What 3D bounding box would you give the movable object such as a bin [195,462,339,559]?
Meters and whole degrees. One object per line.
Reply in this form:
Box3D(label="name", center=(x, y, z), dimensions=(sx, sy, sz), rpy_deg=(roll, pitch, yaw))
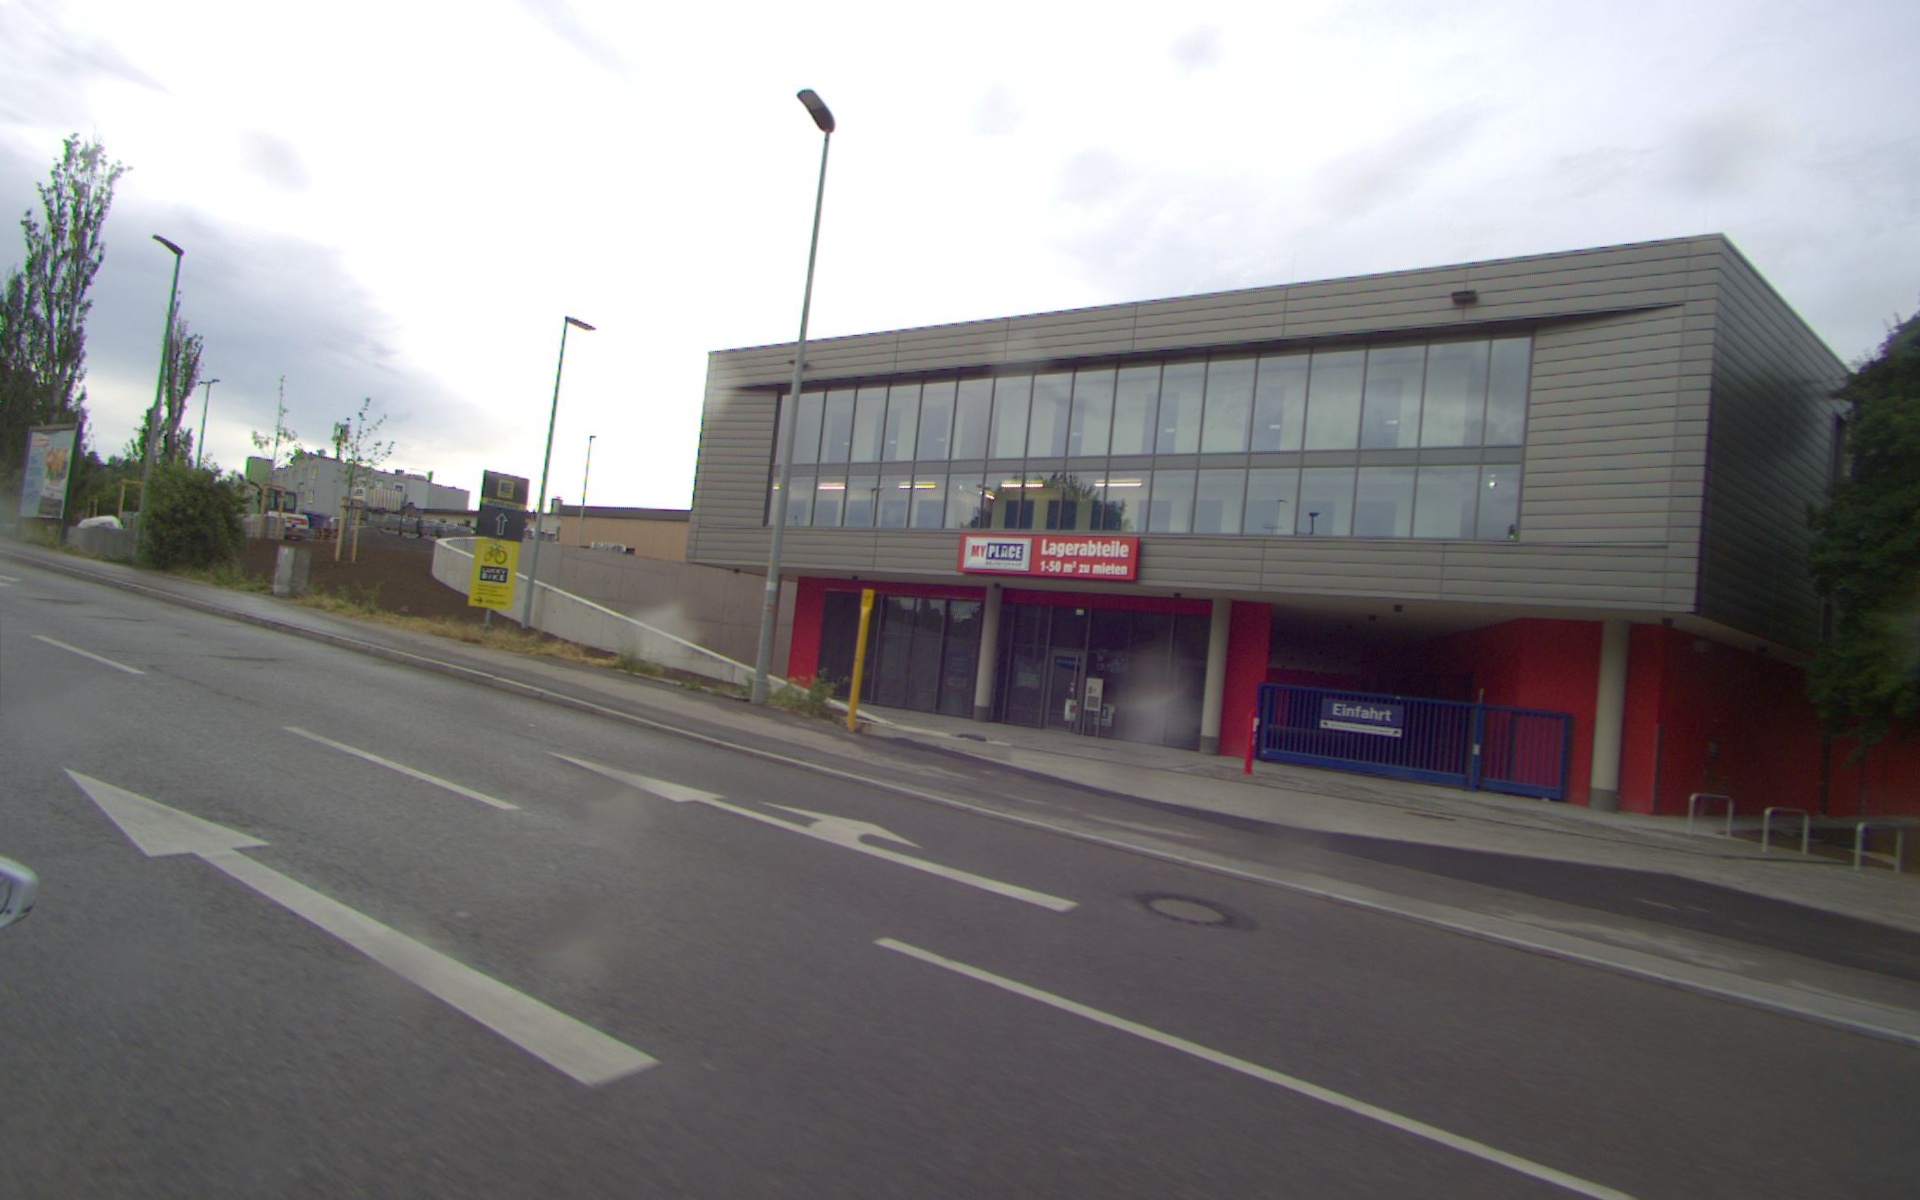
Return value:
Box3D(label="movable object such as a bin", center=(-29.608, -3.826, 42.976), dimensions=(5.327, 3.313, 2.310), rpy_deg=(8, -1, 25))
